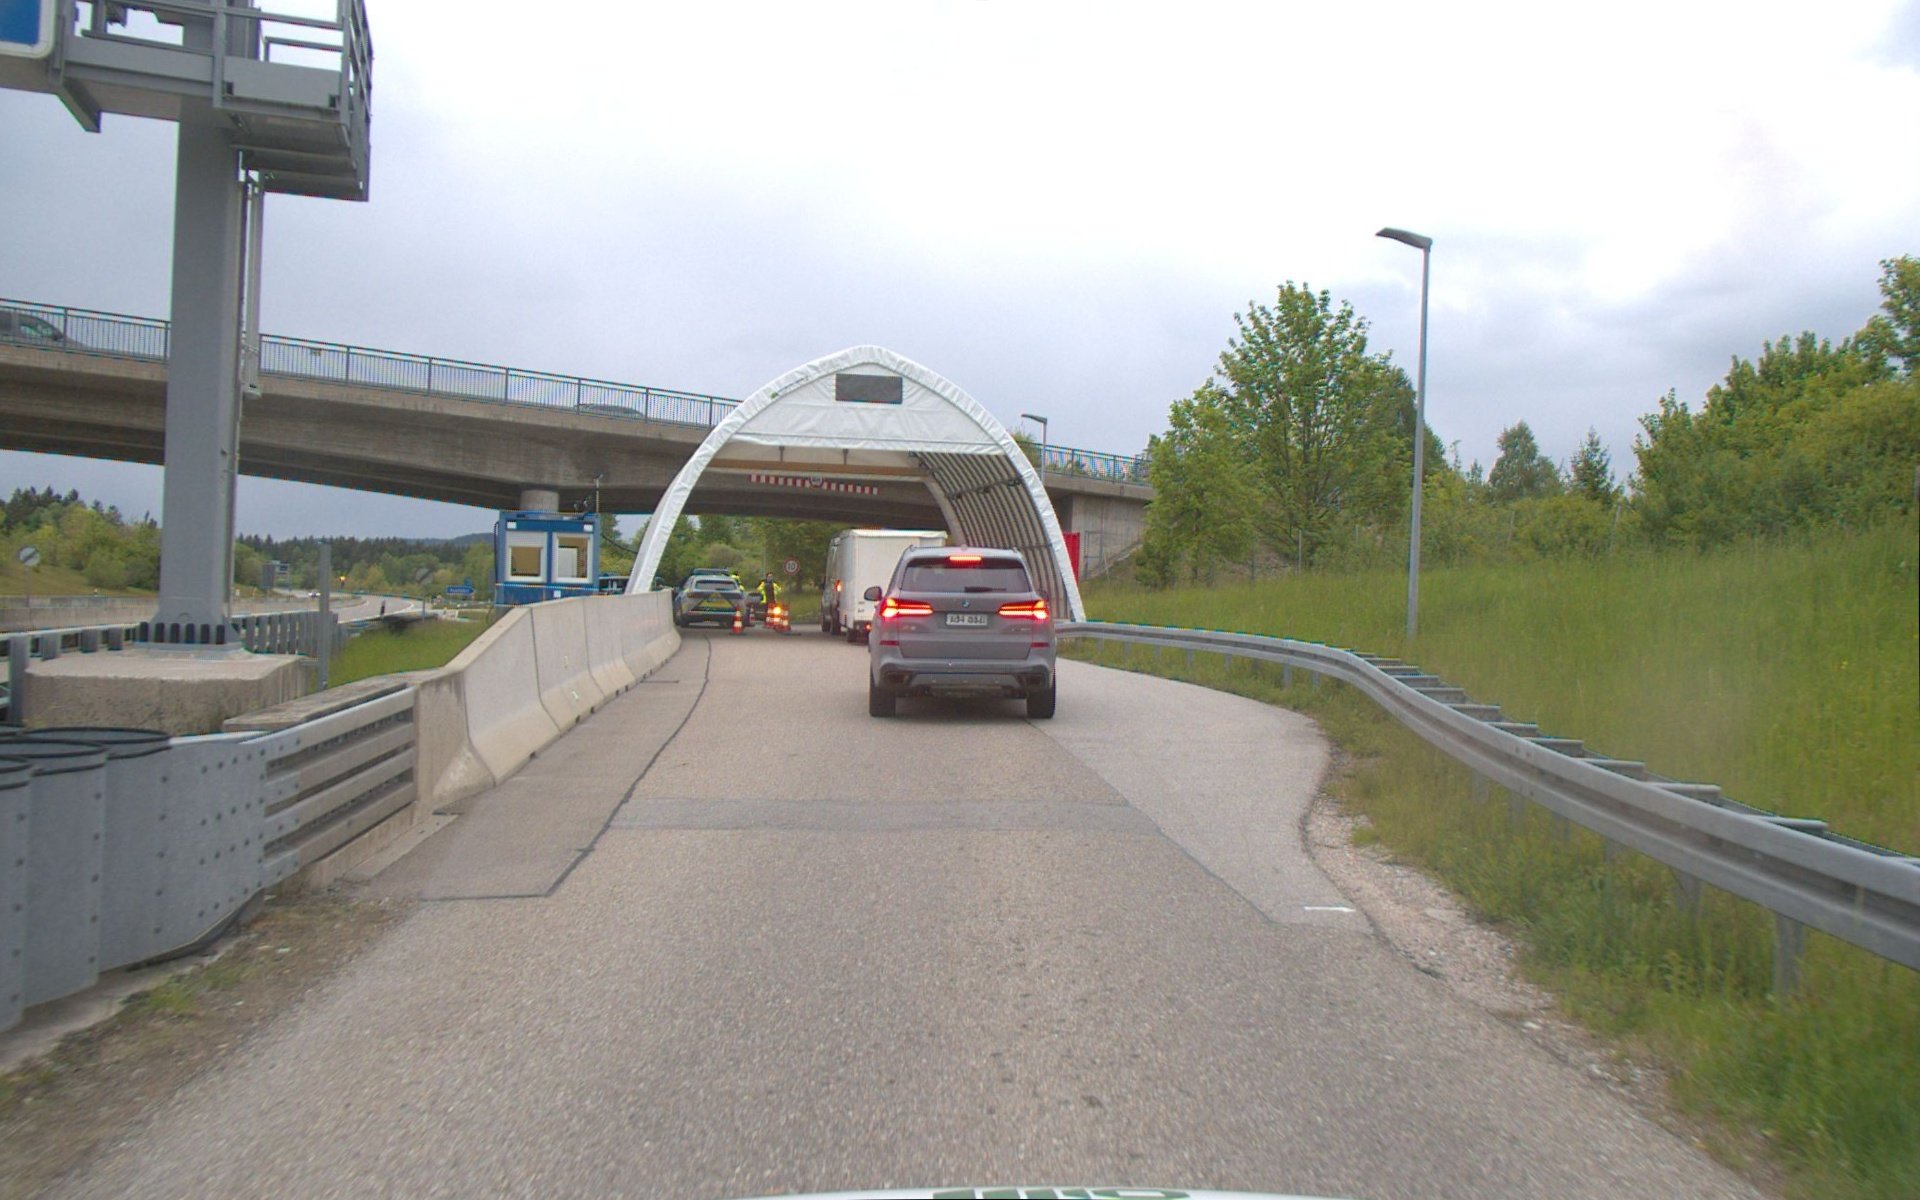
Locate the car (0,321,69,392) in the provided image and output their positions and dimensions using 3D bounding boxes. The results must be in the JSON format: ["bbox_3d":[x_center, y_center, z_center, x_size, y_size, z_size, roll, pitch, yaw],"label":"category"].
[{"bbox_3d":[-28.558,-7.122,47.580,4.890,1.676,1.972,0,0,-39],"label":"car"}]

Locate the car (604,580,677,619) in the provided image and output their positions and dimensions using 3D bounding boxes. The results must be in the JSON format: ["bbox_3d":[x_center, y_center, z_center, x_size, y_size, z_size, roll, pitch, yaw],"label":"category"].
[{"bbox_3d":[-12.283,-0.031,63.565,1.503,1.467,3.272,0,0,-37],"label":"car"}]

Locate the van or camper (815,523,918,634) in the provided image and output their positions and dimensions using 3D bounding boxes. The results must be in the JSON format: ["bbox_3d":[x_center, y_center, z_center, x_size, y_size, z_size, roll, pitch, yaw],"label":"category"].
[{"bbox_3d":[-2.621,-0.517,44.953,2.117,2.812,5.857,1,-1,-10],"label":"van or camper"}]

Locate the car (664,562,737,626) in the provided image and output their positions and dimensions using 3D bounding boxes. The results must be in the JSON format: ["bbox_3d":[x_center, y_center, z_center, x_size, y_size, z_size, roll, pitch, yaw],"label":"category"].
[{"bbox_3d":[-7.668,-0.161,48.626,1.958,1.803,3.754,0,0,-12],"label":"car"}]

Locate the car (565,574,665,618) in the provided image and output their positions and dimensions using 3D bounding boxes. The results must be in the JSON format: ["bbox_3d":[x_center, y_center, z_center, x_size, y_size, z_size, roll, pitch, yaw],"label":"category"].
[{"bbox_3d":[-14.800,-0.183,71.114,3.903,1.886,1.710,0,0,4],"label":"car"}]

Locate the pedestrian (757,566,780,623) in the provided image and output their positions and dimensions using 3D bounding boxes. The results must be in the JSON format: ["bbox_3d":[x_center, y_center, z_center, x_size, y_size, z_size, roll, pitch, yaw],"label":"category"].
[{"bbox_3d":[-6.077,-0.183,52.514,0.637,1.806,0.604,0,0,-14],"label":"pedestrian"}]

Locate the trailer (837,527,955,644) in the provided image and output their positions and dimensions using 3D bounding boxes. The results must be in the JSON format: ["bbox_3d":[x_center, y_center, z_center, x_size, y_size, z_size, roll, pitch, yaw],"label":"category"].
[{"bbox_3d":[-1.611,-0.273,38.646,2.235,2.473,6.807,1,-1,-6],"label":"trailer"}]

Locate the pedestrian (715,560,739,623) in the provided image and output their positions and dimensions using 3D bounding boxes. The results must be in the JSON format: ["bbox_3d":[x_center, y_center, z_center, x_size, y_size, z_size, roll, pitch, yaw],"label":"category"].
[{"bbox_3d":[-7.362,-0.266,52.143,0.707,1.979,0.688,0,0,-12],"label":"pedestrian"}]

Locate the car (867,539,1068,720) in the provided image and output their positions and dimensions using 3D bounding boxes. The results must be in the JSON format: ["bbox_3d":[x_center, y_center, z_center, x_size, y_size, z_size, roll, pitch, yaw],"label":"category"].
[{"bbox_3d":[0.058,0.295,18.220,1.953,1.749,3.999,1,0,-1],"label":"car"}]

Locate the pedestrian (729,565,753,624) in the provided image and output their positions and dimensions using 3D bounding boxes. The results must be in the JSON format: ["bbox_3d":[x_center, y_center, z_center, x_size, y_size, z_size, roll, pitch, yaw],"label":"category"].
[{"bbox_3d":[-6.774,-0.178,51.154,0.707,1.806,0.688,0,0,-12],"label":"pedestrian"}]

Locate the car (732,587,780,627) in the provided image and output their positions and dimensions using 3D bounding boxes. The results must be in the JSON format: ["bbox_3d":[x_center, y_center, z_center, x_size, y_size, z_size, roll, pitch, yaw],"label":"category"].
[{"bbox_3d":[-9.998,0.320,80.906,1.677,1.886,3.981,0,0,-17],"label":"car"}]
